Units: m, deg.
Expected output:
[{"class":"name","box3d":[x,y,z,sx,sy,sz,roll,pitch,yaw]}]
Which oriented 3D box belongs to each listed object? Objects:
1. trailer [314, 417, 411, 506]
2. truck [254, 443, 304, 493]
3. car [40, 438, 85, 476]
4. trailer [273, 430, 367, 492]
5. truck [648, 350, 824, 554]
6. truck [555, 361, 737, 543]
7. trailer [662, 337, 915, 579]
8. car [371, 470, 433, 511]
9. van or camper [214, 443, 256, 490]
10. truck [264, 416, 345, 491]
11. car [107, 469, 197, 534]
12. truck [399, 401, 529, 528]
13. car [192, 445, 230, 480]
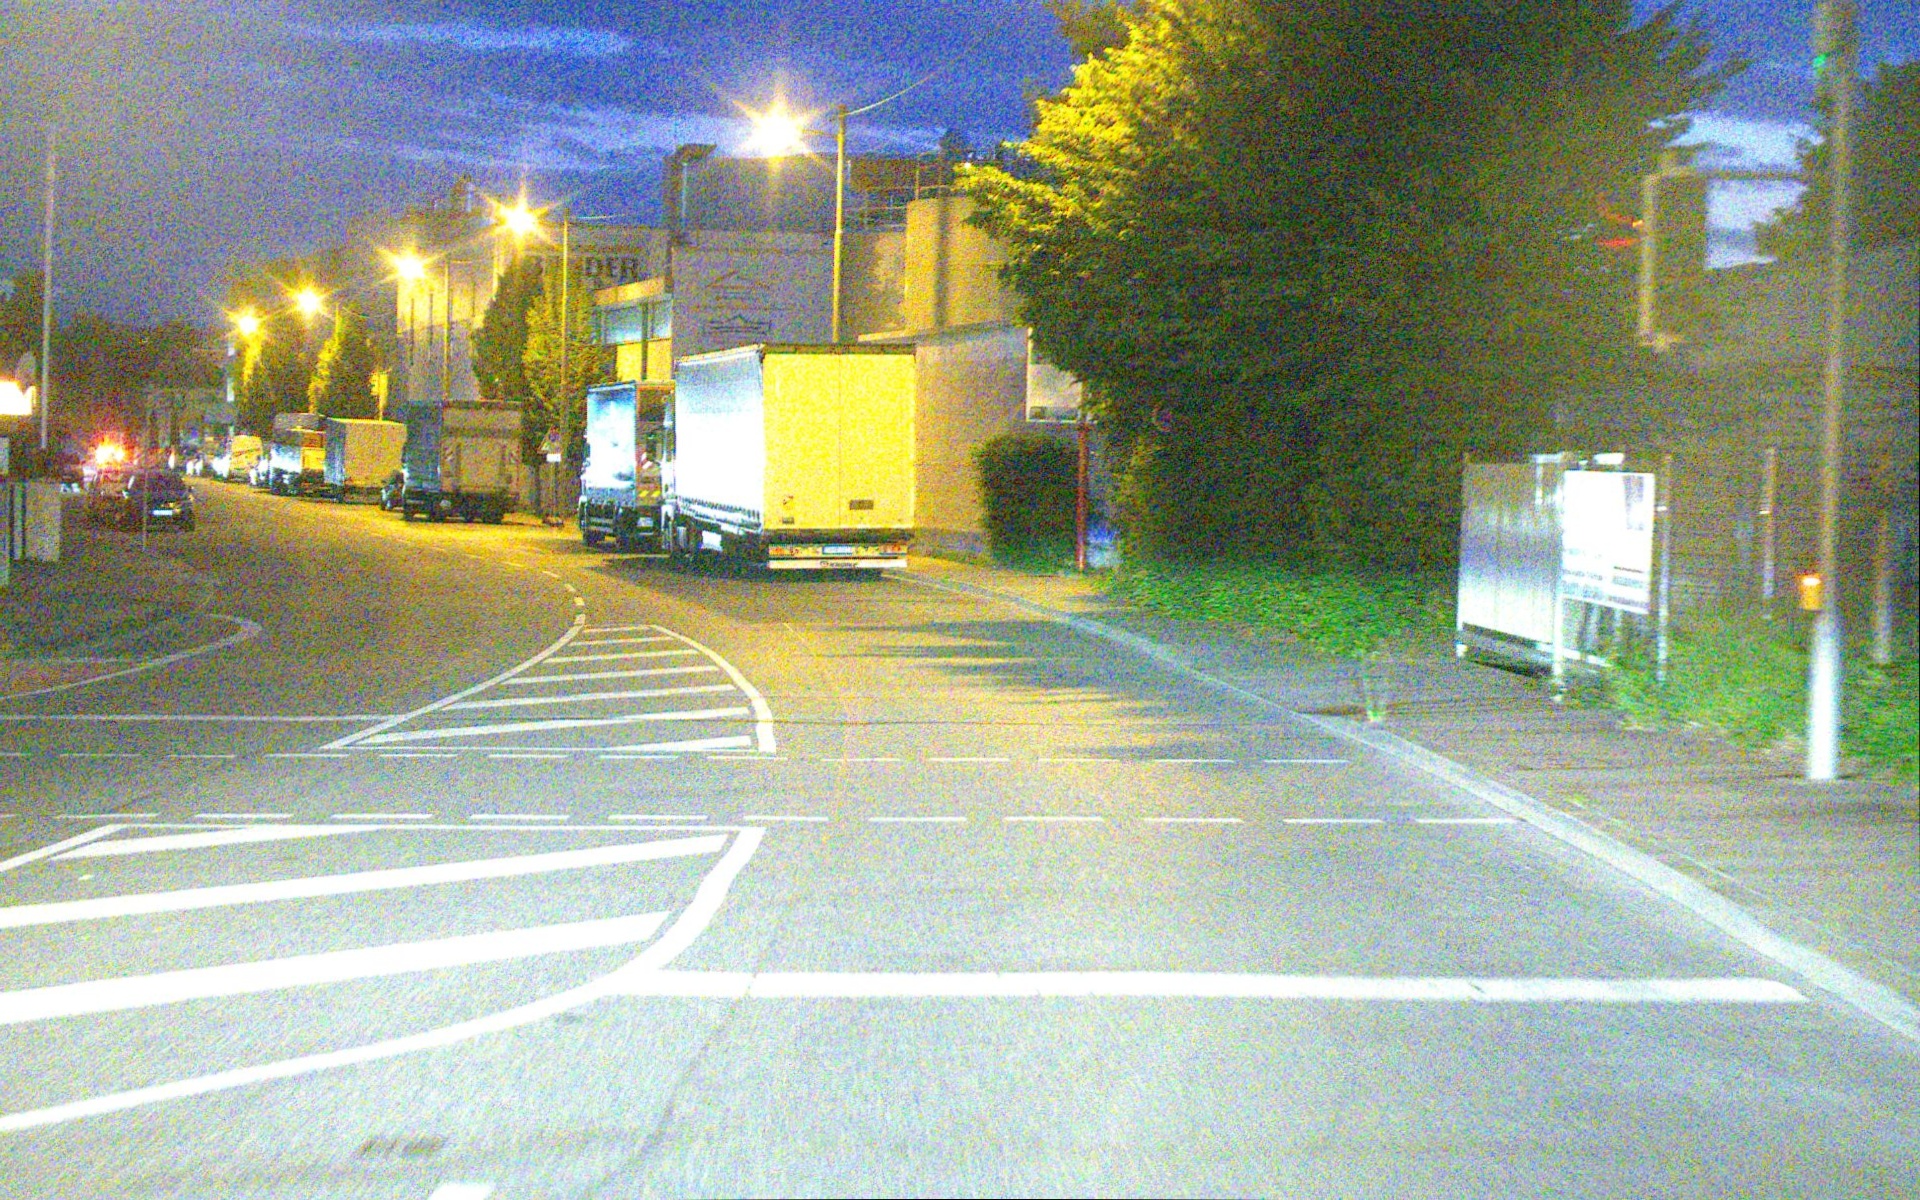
[{"class":"trailer","box3d":[-24.400,-5.641,140.178,2.686,3.452,7.812,1,2,-18]},{"class":"truck","box3d":[-34.569,-6.704,174.337,1.993,2.399,5.295,1,2,-16]},{"class":"car","box3d":[-43.411,-6.914,166.219,1.993,1.787,4.002,1,2,-16]},{"class":"trailer","box3d":[-29.074,-6.281,155.816,3.183,2.739,10.719,-1,2,-16]},{"class":"truck","box3d":[-4.634,-2.993,70.171,2.829,3.969,6.052,0,2,-11]},{"class":"truck","box3d":[-7.457,-3.415,80.327,2.829,3.969,10.346,0,2,-13]},{"class":"trailer","box3d":[-3.413,-2.585,63.536,2.808,3.969,13.979,0,2,-11]},{"class":"car","box3d":[-20.732,-4.077,127.694,1.852,1.513,3.820,0,2,-15]},{"class":"van or camper","box3d":[-41.130,-7.612,194.996,1.993,2.572,4.917,1,2,-15]},{"class":"truck","box3d":[-31.052,-6.899,162.663,3.150,3.451,6.676,0,2,-16]},{"class":"car","box3d":[-21.787,-2.671,92.566,1.993,1.630,4.776,1,2,-17]},{"class":"truck","box3d":[-16.364,-4.423,112.764,3.519,3.969,10.346,0,2,-12]},{"class":"car","box3d":[-46.787,-8.581,214.648,1.993,2.138,4.002,1,2,-16]}]
